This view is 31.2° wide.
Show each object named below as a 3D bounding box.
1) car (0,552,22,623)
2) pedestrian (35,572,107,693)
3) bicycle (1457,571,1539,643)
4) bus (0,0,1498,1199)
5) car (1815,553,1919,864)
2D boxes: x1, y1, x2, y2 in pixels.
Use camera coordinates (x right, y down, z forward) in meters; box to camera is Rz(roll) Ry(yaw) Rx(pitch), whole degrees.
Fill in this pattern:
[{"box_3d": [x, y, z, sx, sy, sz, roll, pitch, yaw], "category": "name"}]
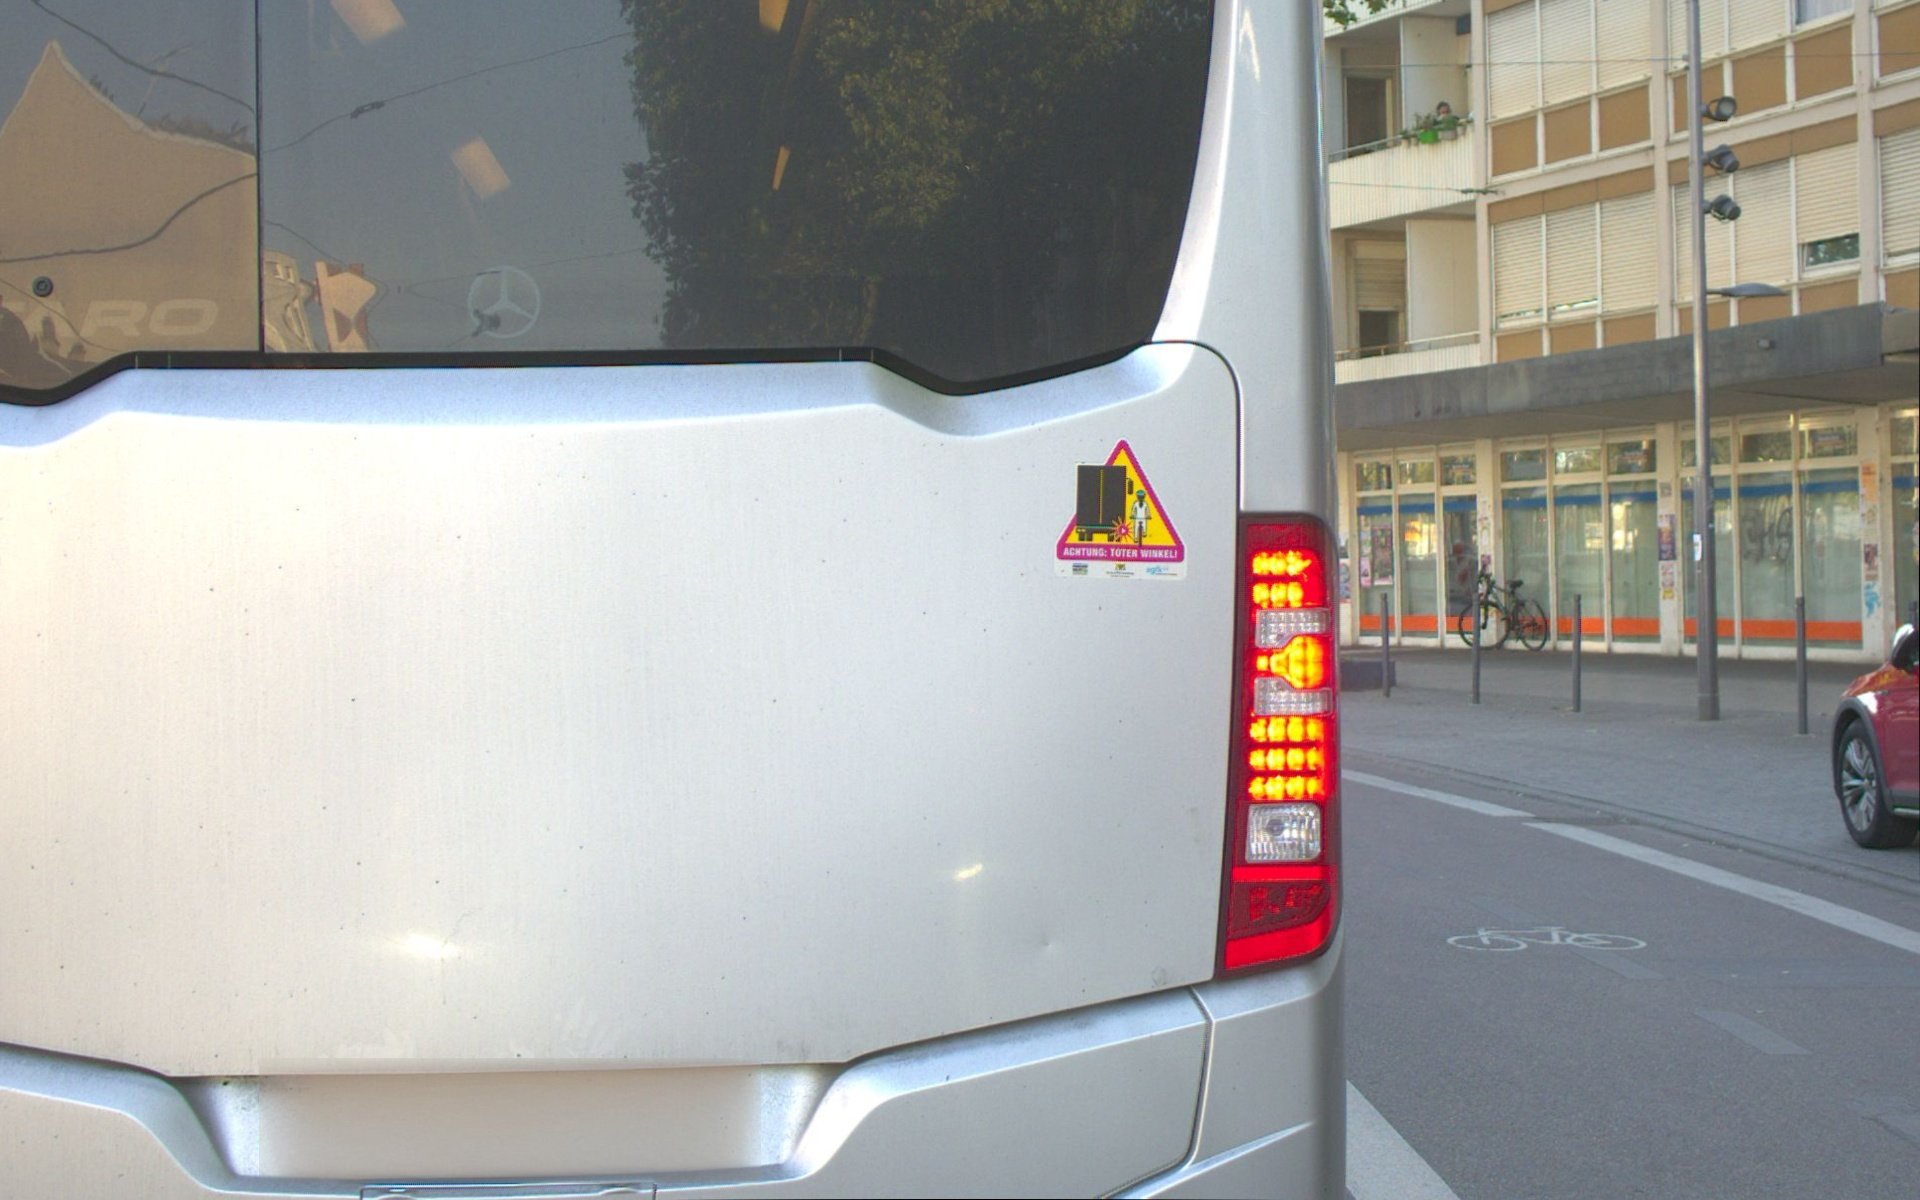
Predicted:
[{"box_3d": [-25.902, -0.342, 88.218, 1.994, 1.785, 3.998, 1, 0, -41], "category": "car"}, {"box_3d": [-10.791, 0.394, 41.749, 0.767, 1.445, 0.638, 1, 0, -10], "category": "pedestrian"}, {"box_3d": [7.140, 0.088, 45.673, 0.412, 0.941, 1.441, -1, 1, -20], "category": "bicycle"}, {"box_3d": [-0.762, -0.142, 9.806, 2.630, 3.017, 9.998, 0, 1, -2], "category": "bus"}, {"box_3d": [5.529, 0.505, 15.862, 1.769, 1.477, 4.304, -2, 1, -4], "category": "car"}]
